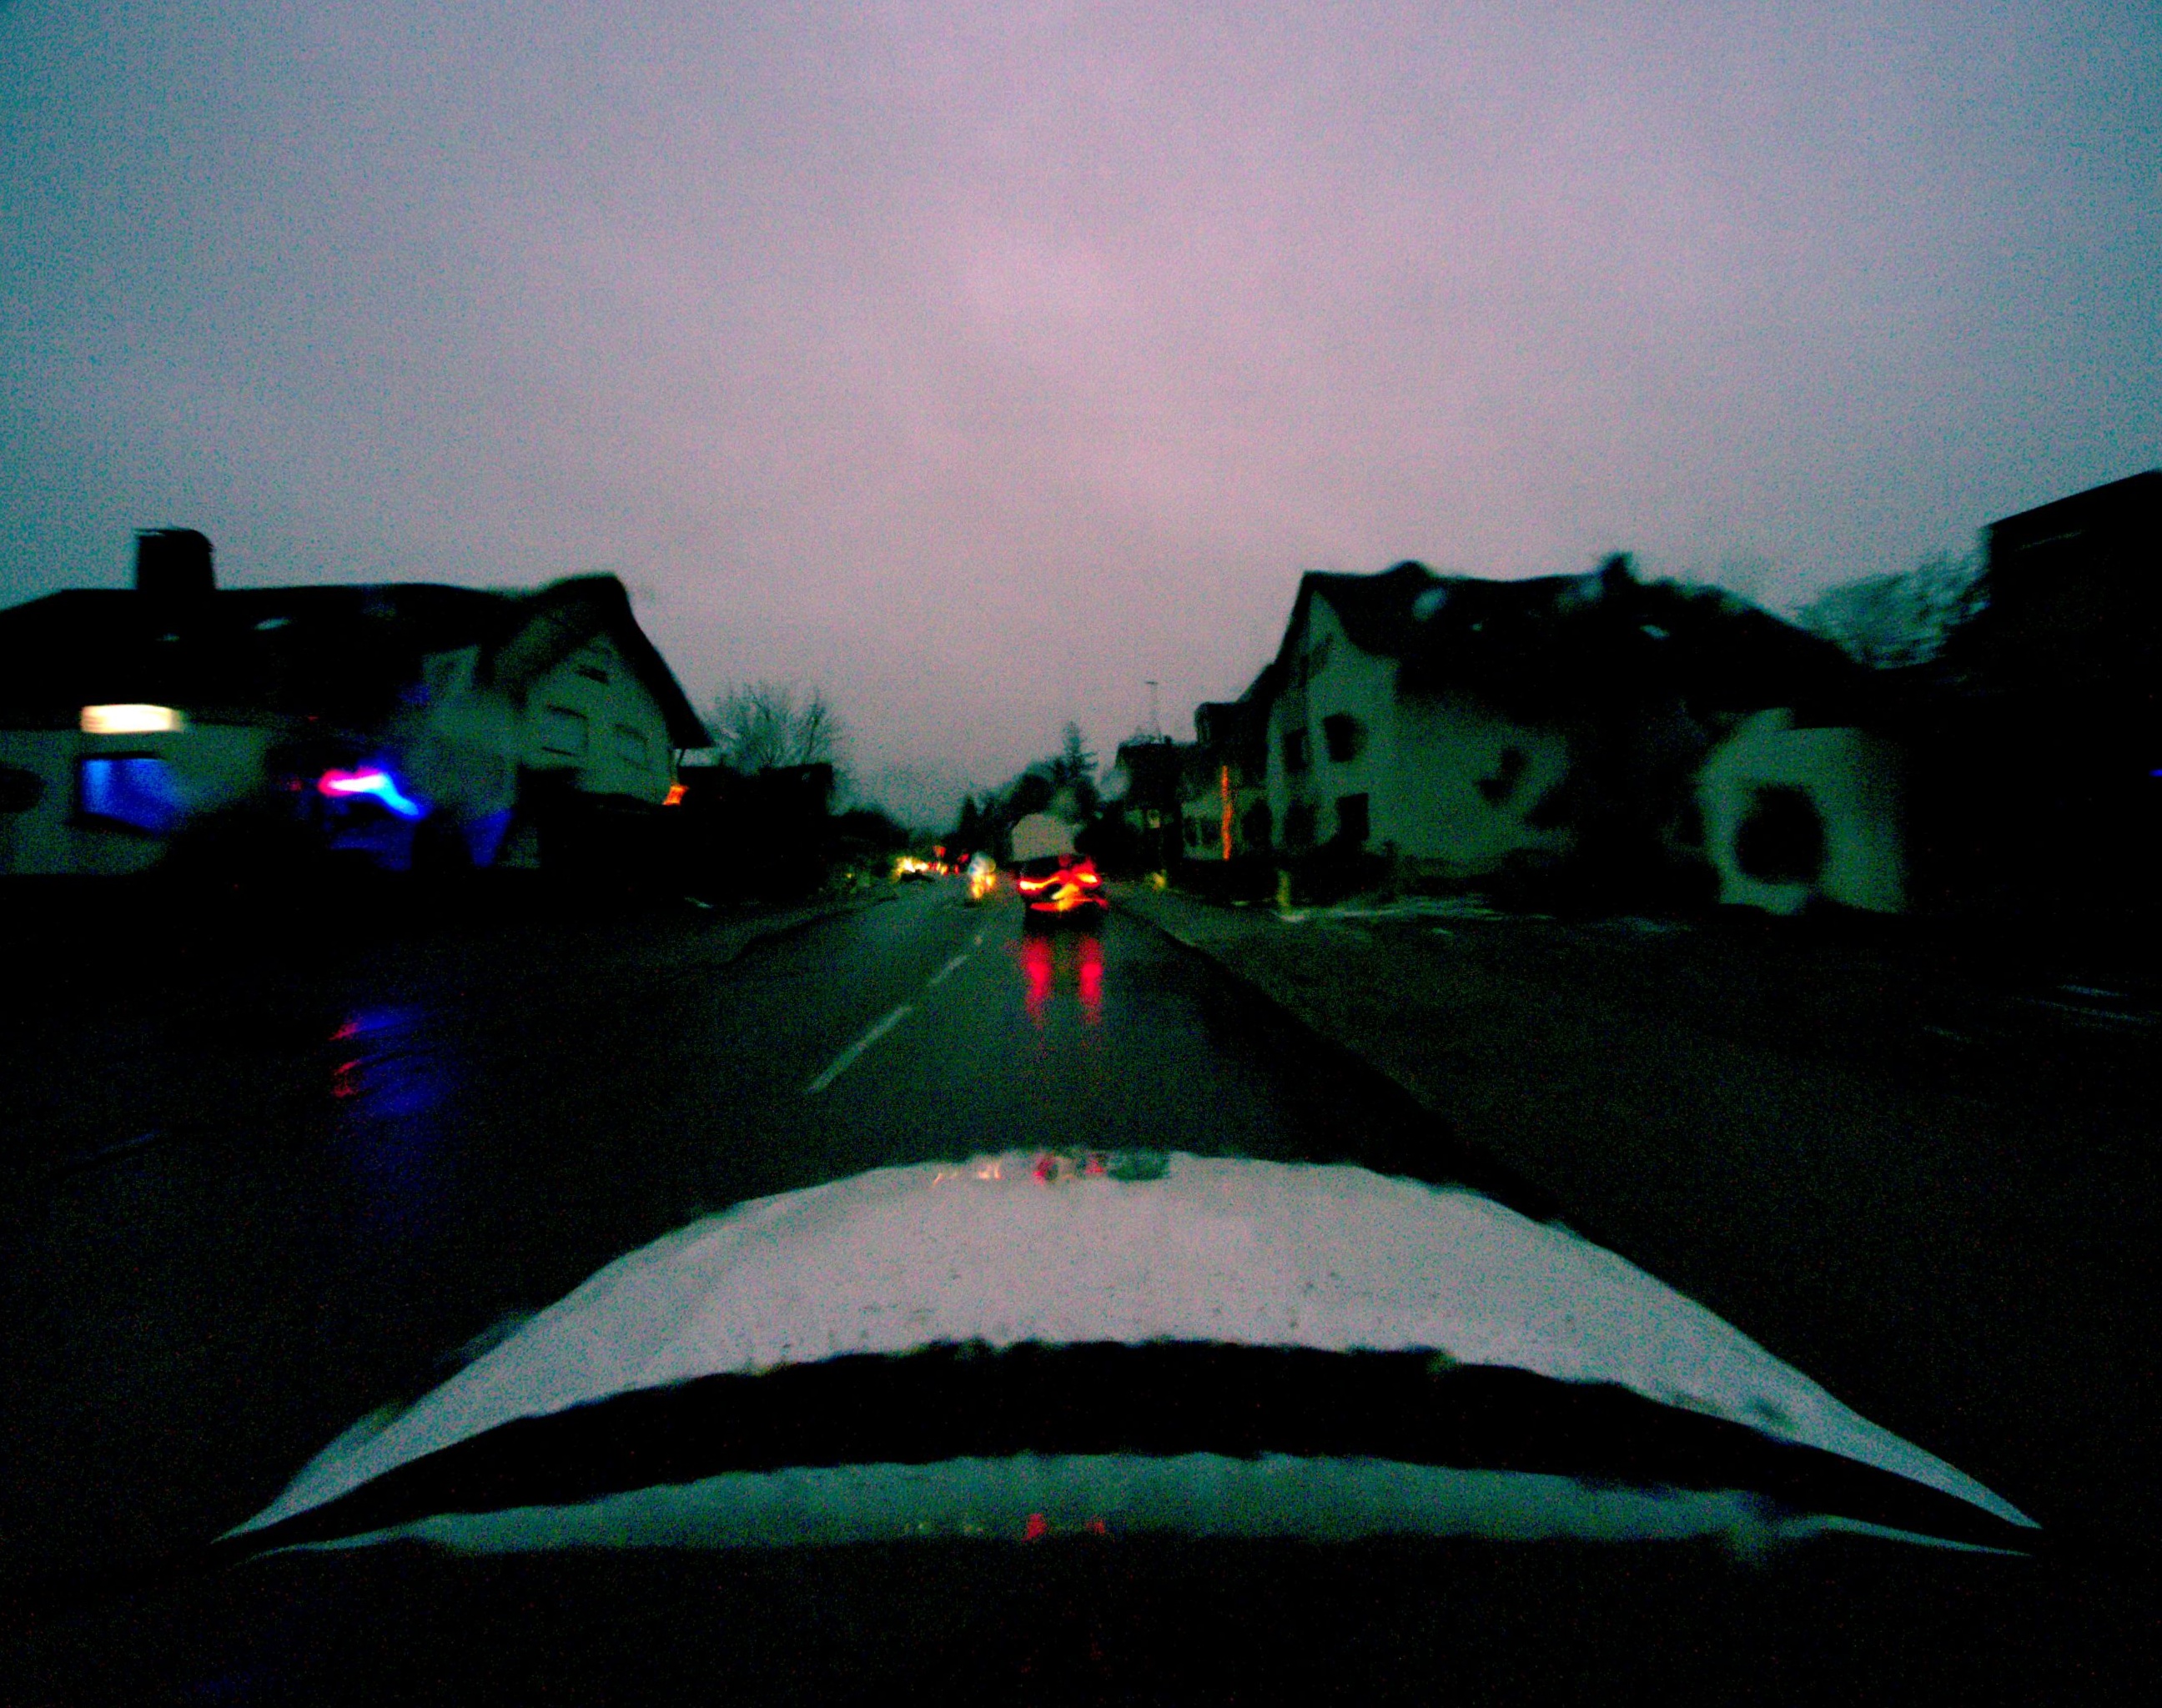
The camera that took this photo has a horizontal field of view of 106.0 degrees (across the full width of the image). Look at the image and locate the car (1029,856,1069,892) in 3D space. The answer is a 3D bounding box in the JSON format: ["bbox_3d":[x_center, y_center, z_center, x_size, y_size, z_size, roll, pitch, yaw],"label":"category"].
[{"bbox_3d":[-1.655,0.964,41.169,1.854,1.647,3.994,-1,0,-4],"label":"car"}]

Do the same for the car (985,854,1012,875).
[{"bbox_3d":[-8.298,1.059,81.851,2.309,1.938,5.001,-2,-1,-10],"label":"car"}]

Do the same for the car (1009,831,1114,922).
[{"bbox_3d":[-0.509,0.529,20.676,2.303,1.938,5.014,-2,-1,-2],"label":"car"}]

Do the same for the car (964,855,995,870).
[{"bbox_3d":[-14.869,1.240,119.102,4.249,2.013,1.804,-2,0,-11],"label":"car"}]

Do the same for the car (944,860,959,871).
[{"bbox_3d":[-17.331,1.569,108.744,1.843,1.331,3.922,-2,0,-11],"label":"car"}]
